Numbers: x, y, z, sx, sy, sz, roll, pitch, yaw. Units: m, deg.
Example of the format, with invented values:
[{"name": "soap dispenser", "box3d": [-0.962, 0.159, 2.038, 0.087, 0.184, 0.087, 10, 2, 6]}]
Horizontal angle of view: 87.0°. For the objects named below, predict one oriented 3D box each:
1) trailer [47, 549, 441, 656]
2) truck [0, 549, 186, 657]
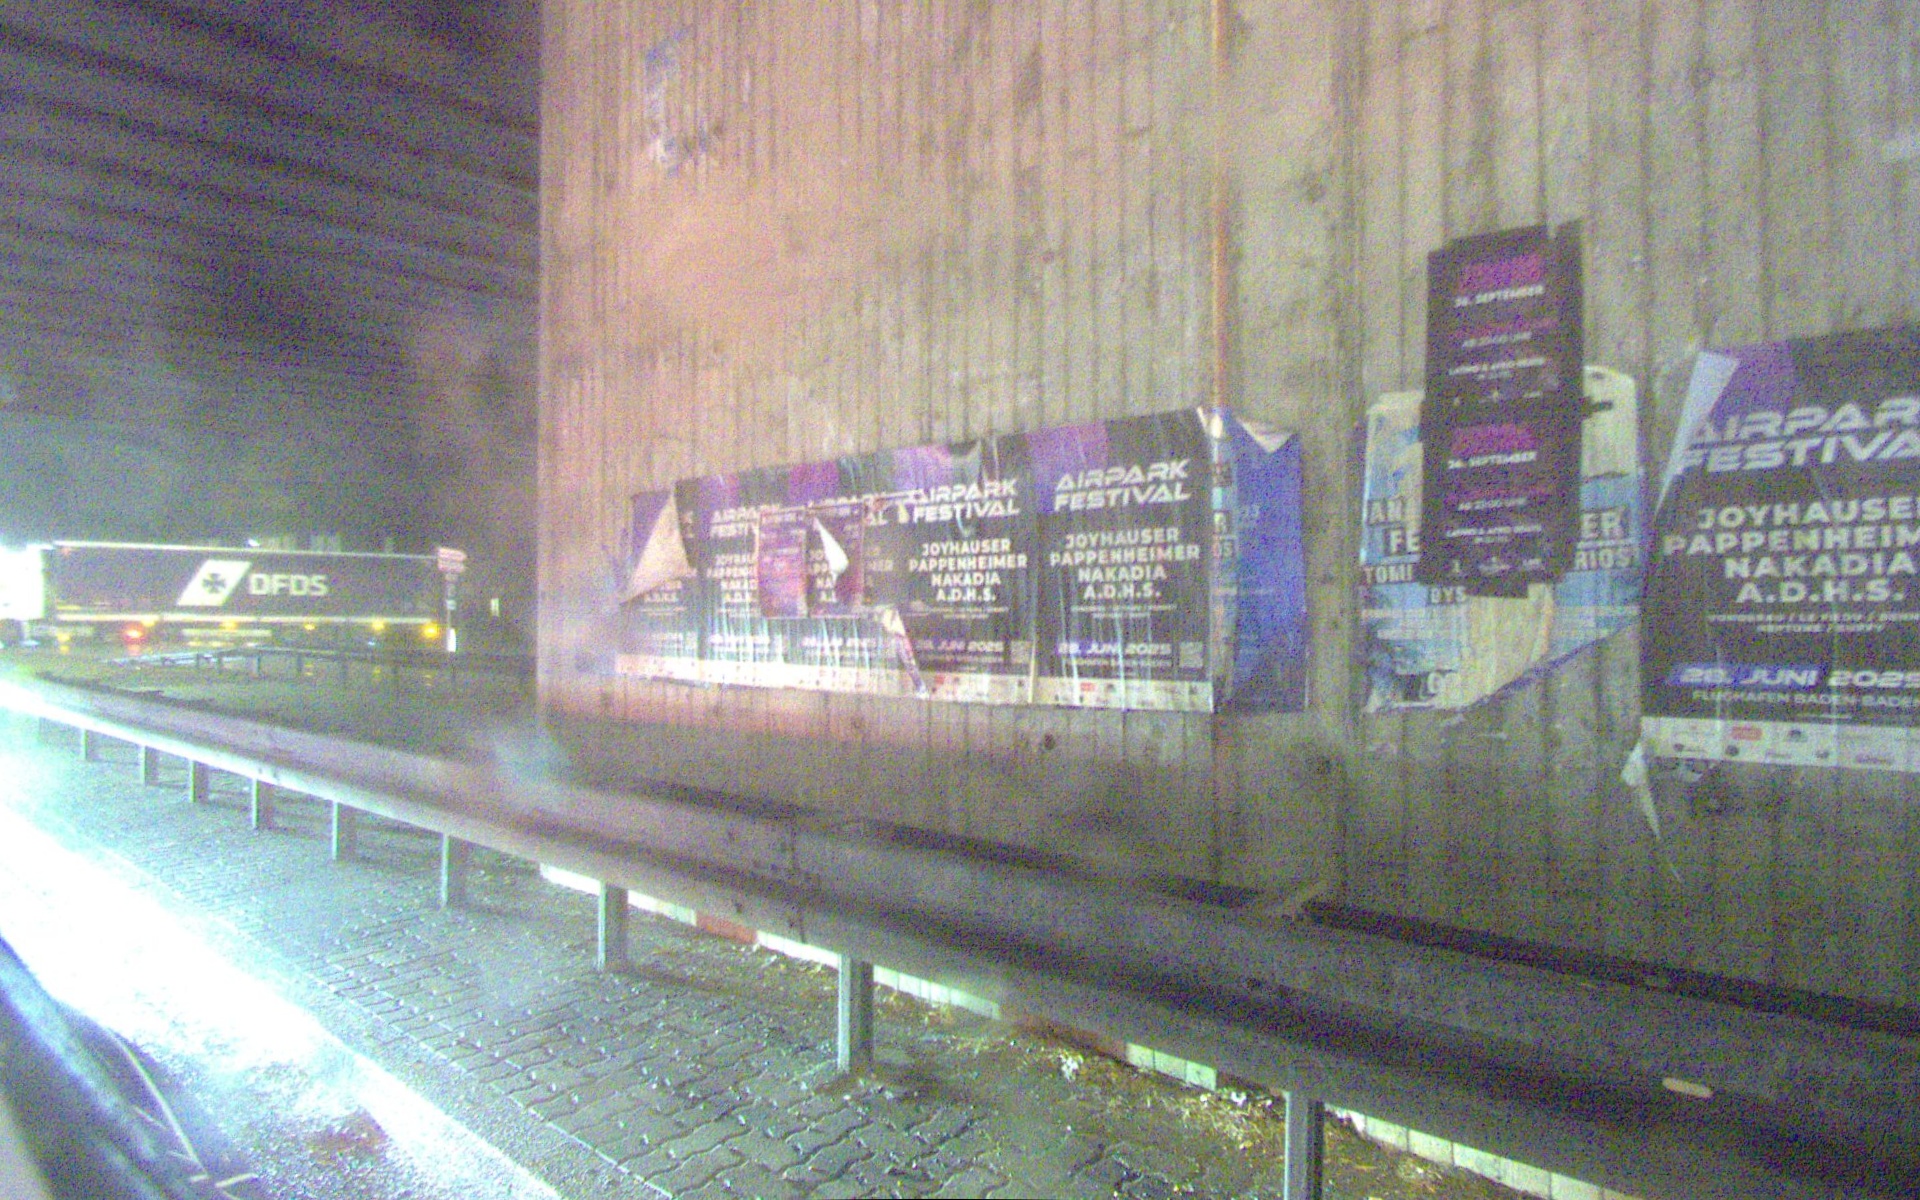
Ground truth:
[{"name": "trailer", "box3d": [-30.761, 0.027, 44.750, 13.682, 4.208, 3.982, -1, 0, -30]}, {"name": "truck", "box3d": [-36.468, 0.107, 41.667, 6.268, 4.208, 3.981, -1, 0, -16]}]
